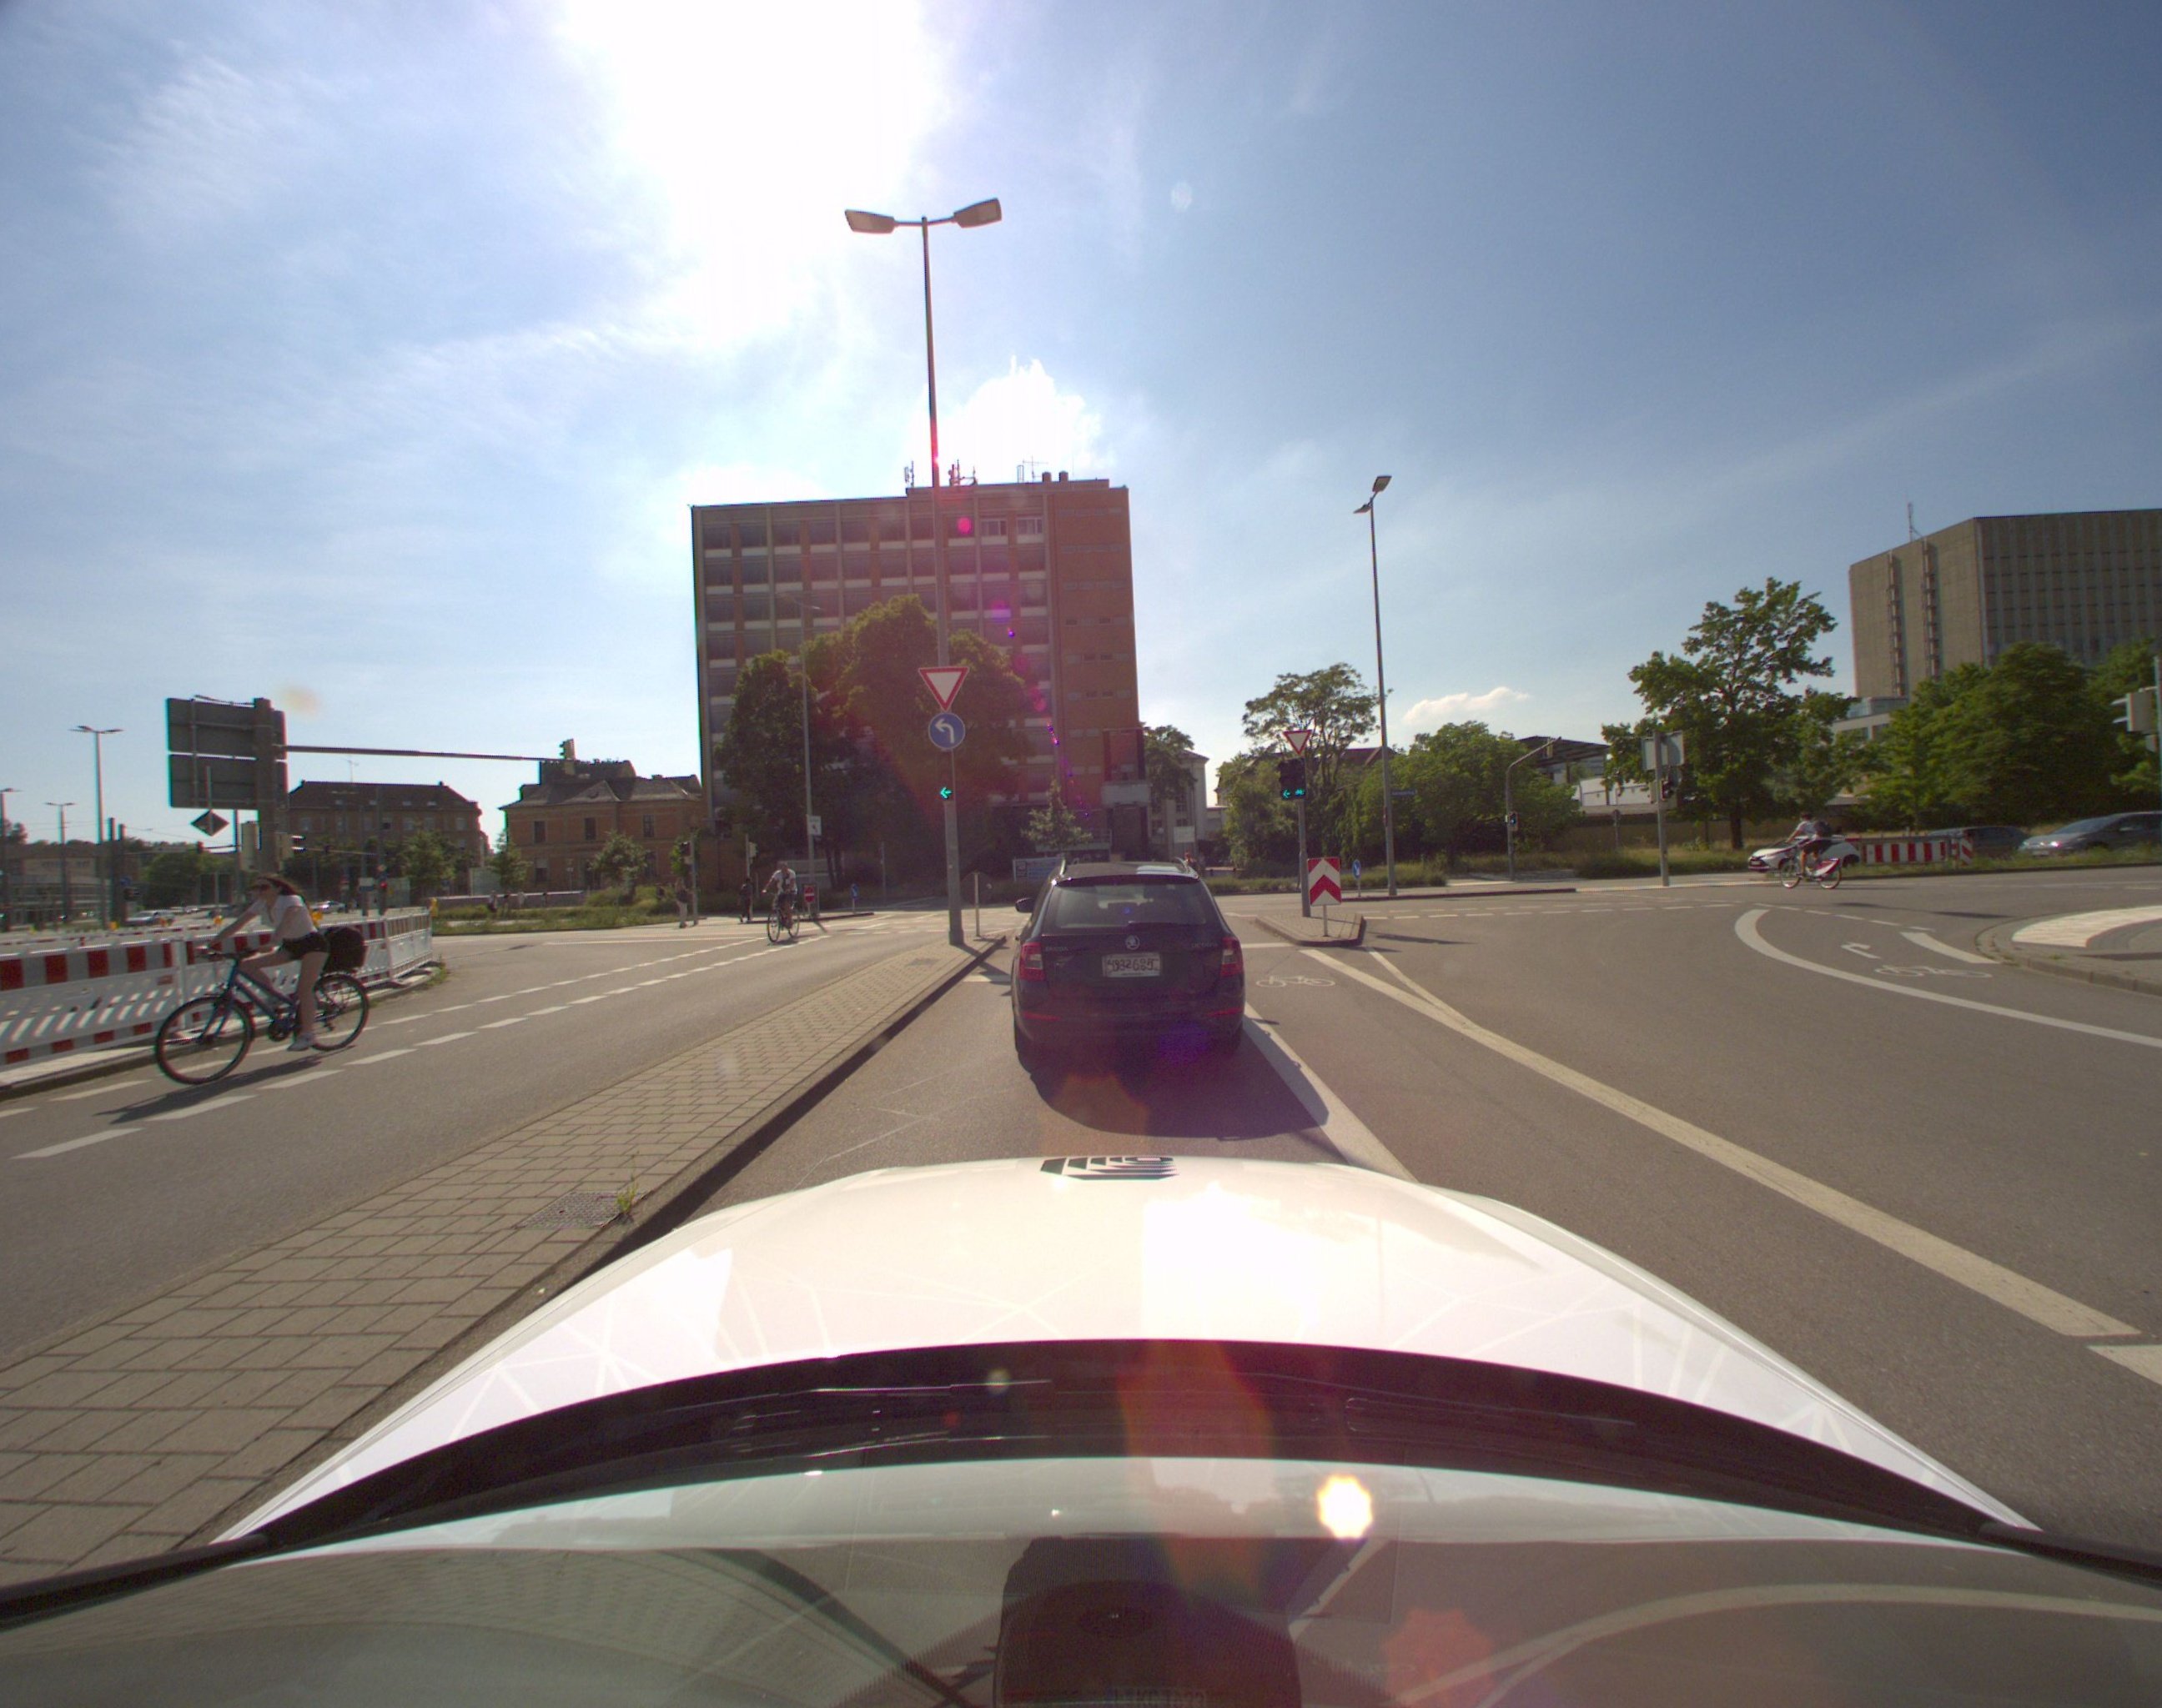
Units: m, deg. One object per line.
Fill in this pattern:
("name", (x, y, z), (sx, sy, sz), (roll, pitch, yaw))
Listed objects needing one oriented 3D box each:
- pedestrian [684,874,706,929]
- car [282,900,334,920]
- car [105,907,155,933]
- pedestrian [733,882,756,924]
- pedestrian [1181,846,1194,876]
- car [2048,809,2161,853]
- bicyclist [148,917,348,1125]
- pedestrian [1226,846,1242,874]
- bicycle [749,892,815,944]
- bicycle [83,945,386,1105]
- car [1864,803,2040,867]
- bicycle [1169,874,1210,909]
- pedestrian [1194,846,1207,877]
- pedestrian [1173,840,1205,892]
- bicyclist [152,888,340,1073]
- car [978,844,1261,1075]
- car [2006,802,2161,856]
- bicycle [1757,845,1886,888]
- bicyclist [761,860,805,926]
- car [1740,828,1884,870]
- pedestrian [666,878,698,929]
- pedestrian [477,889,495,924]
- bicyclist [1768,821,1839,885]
("pedestrian", (-14.235, 1.740, 30.039), (0.618, 2.014, 0.679), (0, -2, -36))
("car", (-88.153, 6.369, 92.982), (1.986, 2.013, 4.001), (-3, -1, 2))
("car", (-84.832, 5.853, 72.676), (2.009, 2.013, 3.955), (-3, -1, -37))
("pedestrian", (-12.633, 1.828, 30.587), (0.632, 1.491, 0.614), (-3, -1, -15))
("pedestrian", (6.781, 0.445, 51.721), (0.591, 1.874, 0.642), (-3, -1, 25))
("car", (41.801, -0.941, 32.399), (4.294, 1.569, 1.911), (-3, 0, 1))
("bicyclist", (-7.293, 1.409, 7.193), (0.617, 1.581, 1.013), (-5, -1, -3))
("pedestrian", (10.632, 0.395, 56.560), (0.786, 1.874, 0.642), (-4, 0, 25))
("bicycle", (-6.743, 1.418, 18.459), (0.702, 0.977, 2.030), (-3, 0, 0))
("bicycle", (-7.293, 1.409, 7.193), (0.617, 0.961, 1.966), (-5, 0, -3))
("car", (31.843, -0.650, 29.899), (3.966, 2.014, 2.004), (-3, -2, 7))
("bicycle", (3.168, 1.073, 23.872), (0.596, 0.931, 2.021), (-1, -1, -10))
("pedestrian", (7.449, 0.491, 50.796), (0.634, 1.874, 0.797), (-4, 0, 1))
("pedestrian", (3.151, 0.358, 23.840), (0.583, 1.466, 1.009), (-1, -1, -11))
("bicyclist", (-7.324, 1.063, 7.197), (0.617, 1.443, 0.919), (-5, -1, -3))
("car", (0.341, 0.684, 7.100), (1.772, 1.443, 3.821), (-1, 0, 3))
("car", (31.609, -0.769, 25.044), (4.074, 1.406, 1.642), (-3, -2, 7))
("bicycle", (17.308, 0.292, 19.118), (0.674, 0.916, 2.156), (-3, 0, -18))
("bicyclist", (-6.746, 0.878, 18.472), (0.537, 1.417, 1.030), (-4, -1, 0))
("car", (29.781, -0.175, 33.274), (3.972, 1.464, 2.000), (-3, -2, 1))
("pedestrian", (-14.421, 1.775, 29.448), (0.737, 1.752, 1.105), (-3, -3, -14))
("pedestrian", (-35.878, 3.155, 49.124), (0.624, 2.013, 0.522), (-3, -1, -3))
("bicyclist", (17.162, -0.001, 19.357), (0.496, 1.470, 1.136), (0, -2, -18))
